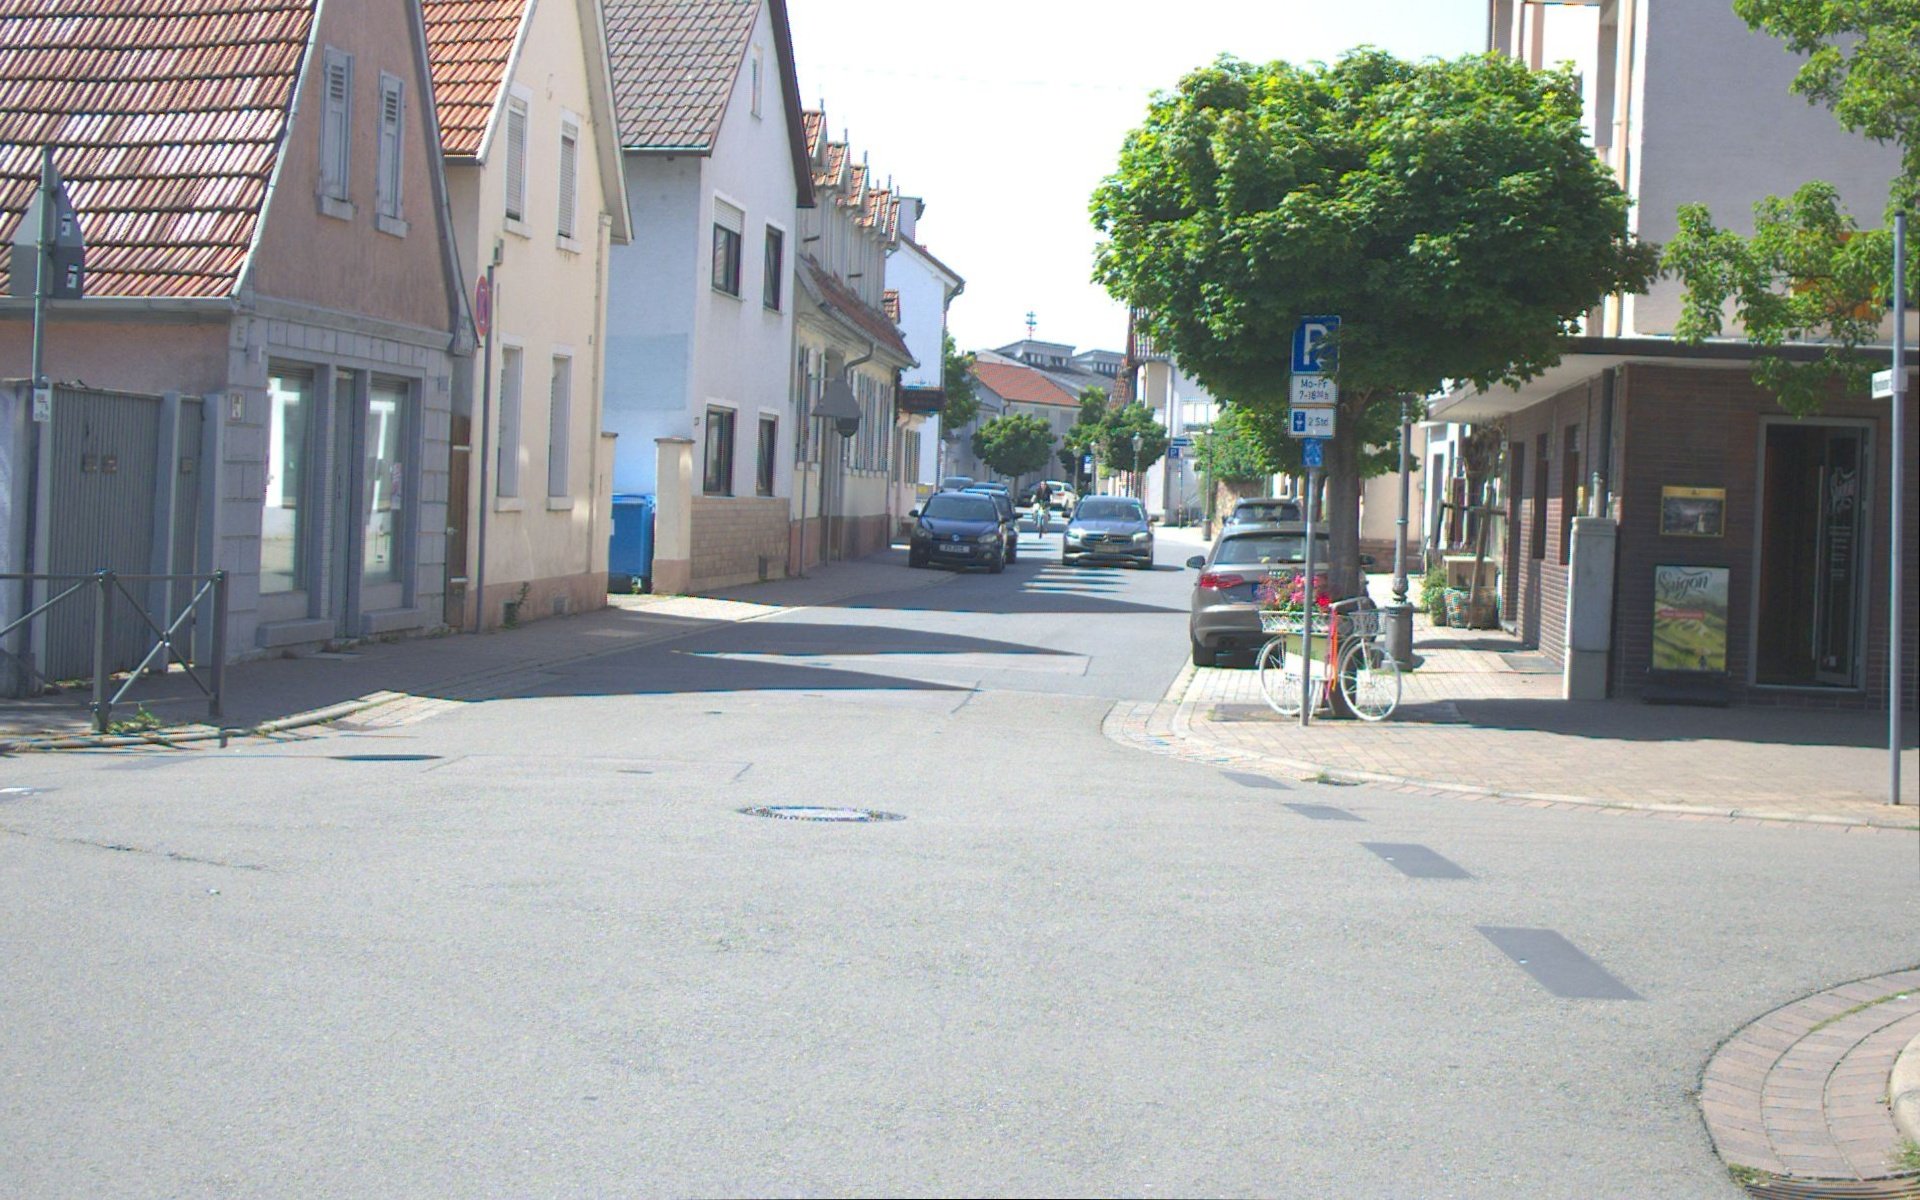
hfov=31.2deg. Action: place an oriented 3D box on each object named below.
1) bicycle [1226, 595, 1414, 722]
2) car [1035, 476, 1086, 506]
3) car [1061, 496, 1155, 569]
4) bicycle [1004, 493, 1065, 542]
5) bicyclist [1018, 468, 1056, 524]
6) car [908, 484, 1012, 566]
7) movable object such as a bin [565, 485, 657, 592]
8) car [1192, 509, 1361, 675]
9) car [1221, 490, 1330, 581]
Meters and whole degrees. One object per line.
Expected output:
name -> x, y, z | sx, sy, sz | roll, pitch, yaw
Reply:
bicycle -> 2.733, 0.437, 26.199 | 1.413, 0.894, 0.464 | 2, 3, 42
car -> 5.686, -6.141, 193.905 | 2.028, 1.592, 4.506 | 2, 2, 13
car -> 3.131, -1.413, 72.450 | 1.909, 1.476, 4.844 | 0, 1, 3
bicycle -> 2.211, -2.465, 102.500 | 1.623, 1.366, 3.926 | 2, 2, -1
bicyclist -> 2.285, -3.109, 102.409 | 1.046, 1.632, 1.128 | 2, 2, -1
car -> 0.032, -1.461, 66.211 | 1.663, 1.471, 4.134 | 2, 2, 4
movable object such as a bin -> -4.581, -0.809, 45.139 | 1.102, 1.361, 0.389 | 2, 2, 9
car -> 3.247, -0.123, 34.802 | 1.576, 1.449, 3.486 | 2, 3, 7
car -> 6.267, -1.311, 68.512 | 2.043, 1.683, 4.841 | 2, 2, 5
